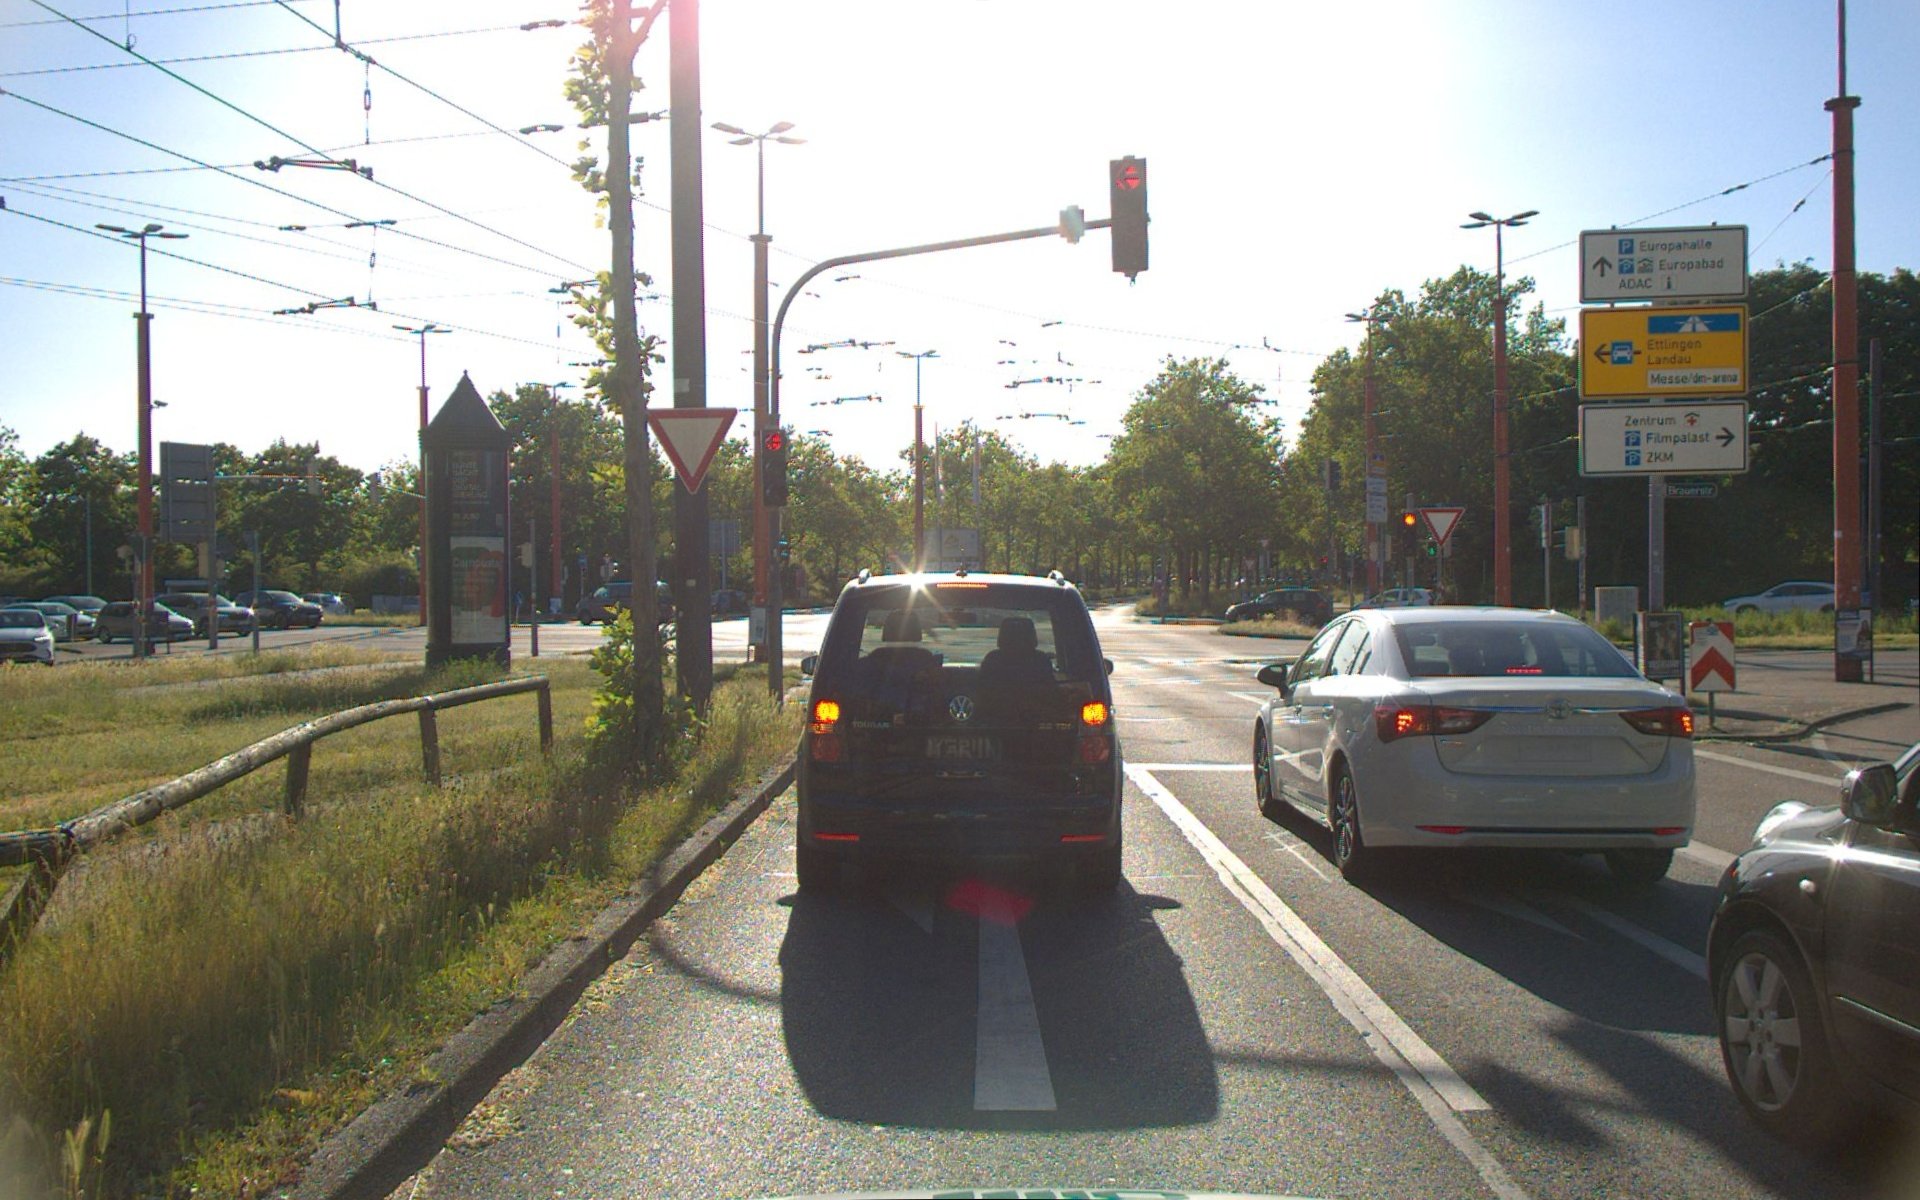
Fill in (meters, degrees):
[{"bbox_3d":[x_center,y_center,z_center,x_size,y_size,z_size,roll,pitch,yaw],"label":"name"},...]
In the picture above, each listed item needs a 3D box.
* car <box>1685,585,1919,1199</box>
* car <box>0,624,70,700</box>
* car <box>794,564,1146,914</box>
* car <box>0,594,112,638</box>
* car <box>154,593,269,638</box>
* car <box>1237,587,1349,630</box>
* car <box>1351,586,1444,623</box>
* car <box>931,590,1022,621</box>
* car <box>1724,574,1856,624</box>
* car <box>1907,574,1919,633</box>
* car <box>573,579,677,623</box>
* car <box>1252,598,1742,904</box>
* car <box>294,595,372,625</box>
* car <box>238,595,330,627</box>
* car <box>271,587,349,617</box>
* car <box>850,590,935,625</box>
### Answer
[{"bbox_3d":[3.183,0.741,3.583,1.620,1.526,3.614,1,0,0],"label":"car"},{"bbox_3d":[-24.264,1.542,42.659,1.968,1.761,4.808,0,0,-24],"label":"car"},{"bbox_3d":[0.012,0.647,9.800,1.666,1.650,3.896,0,0,-1],"label":"car"},{"bbox_3d":[-34.677,0.603,63.244,4.091,1.640,1.867,0,0,25],"label":"car"},{"bbox_3d":[-28.989,0.575,64.099,3.907,1.673,1.999,0,0,24],"label":"car"},{"bbox_3d":[12.863,0.315,63.911,3.942,1.624,2.000,0,0,23],"label":"car"},{"bbox_3d":[17.273,0.179,65.326,3.368,1.392,1.289,1,0,26],"label":"car"},{"bbox_3d":[0.737,0.265,73.915,3.751,1.286,1.602,1,0,23],"label":"car"},{"bbox_3d":[29.565,-0.040,58.999,4.147,1.711,1.701,0,0,27],"label":"car"},{"bbox_3d":[33.317,0.120,53.851,4.108,1.916,1.766,0,0,23],"label":"car"},{"bbox_3d":[-15.769,0.057,77.908,4.478,2.049,1.999,0,0,24],"label":"car"},{"bbox_3d":[2.979,0.730,10.140,1.685,1.463,4.198,1,0,1],"label":"car"},{"bbox_3d":[-35.426,0.543,93.413,4.039,1.672,1.851,0,0,26],"label":"car"},{"bbox_3d":[-29.270,0.476,71.586,3.913,1.353,1.694,0,0,31],"label":"car"},{"bbox_3d":[-33.903,0.098,86.239,3.743,1.549,1.694,0,0,25],"label":"car"},{"bbox_3d":[-2.882,0.312,70.430,3.325,1.483,1.464,0,0,23],"label":"car"}]
